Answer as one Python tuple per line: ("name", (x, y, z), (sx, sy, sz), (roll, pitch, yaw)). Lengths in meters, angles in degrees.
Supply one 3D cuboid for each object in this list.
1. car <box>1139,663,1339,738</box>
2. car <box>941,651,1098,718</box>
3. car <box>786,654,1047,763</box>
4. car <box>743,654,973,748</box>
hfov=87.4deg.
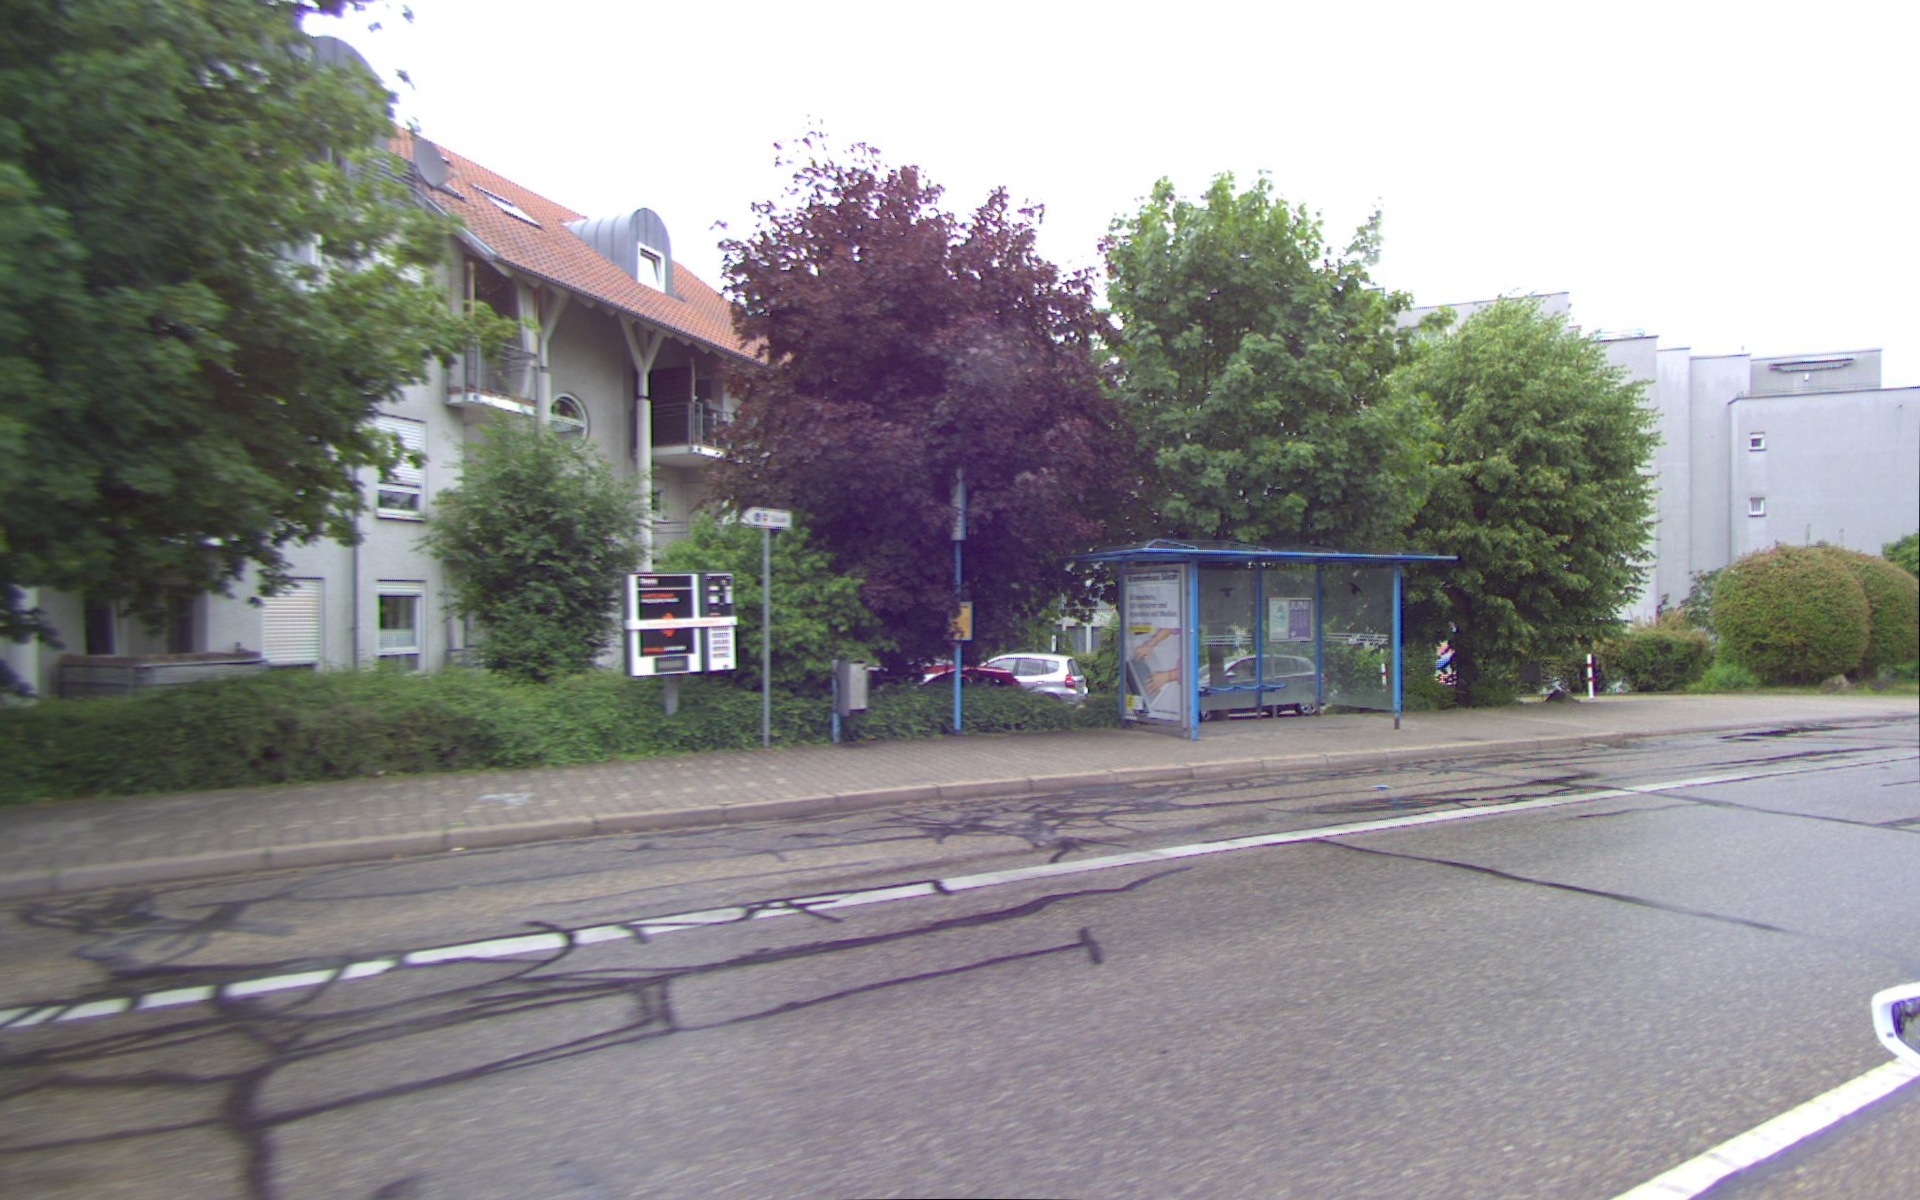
("car", (6.336, 2.206, 22.831), (4.111, 1.440, 1.987), (1, -2, -26))
("car", (1.521, 2.114, 25.618), (3.643, 1.451, 1.670), (1, -1, 21))
("car", (-0.676, 1.689, 16.553), (3.957, 1.483, 1.758), (2, -1, -33))
("car", (-1.850, 1.787, 18.638), (3.957, 1.483, 1.601), (2, -1, -33))
